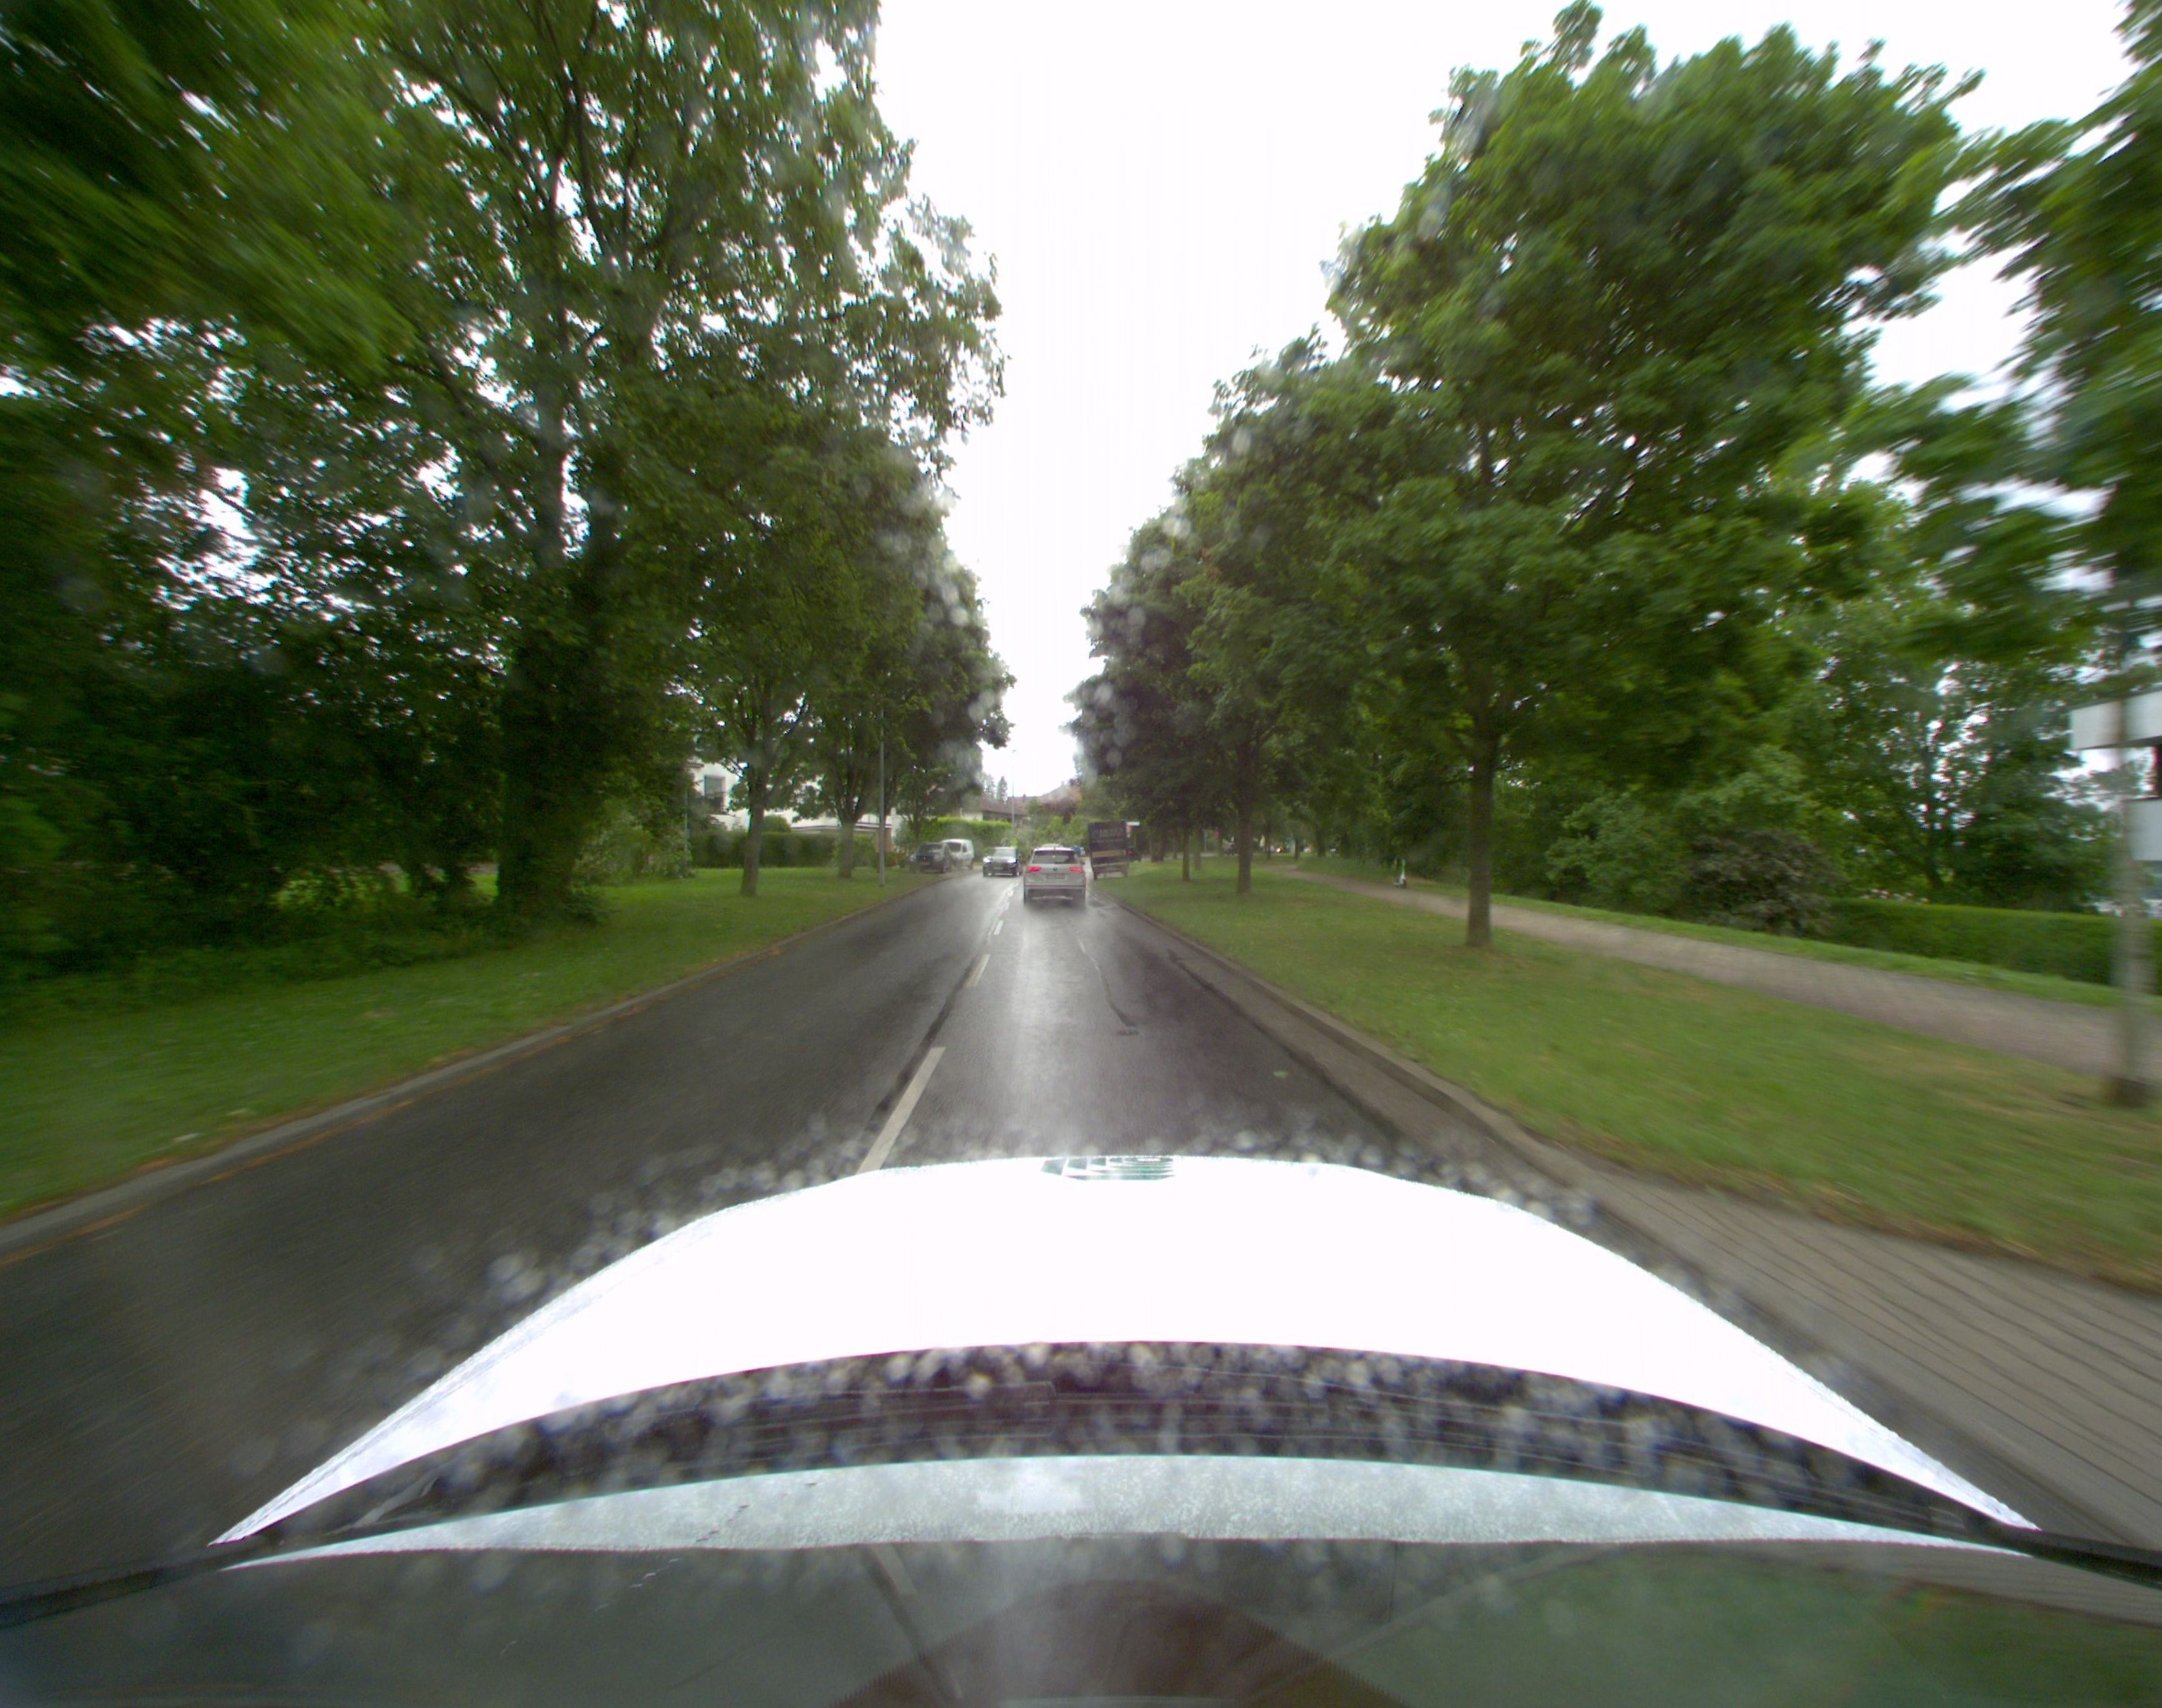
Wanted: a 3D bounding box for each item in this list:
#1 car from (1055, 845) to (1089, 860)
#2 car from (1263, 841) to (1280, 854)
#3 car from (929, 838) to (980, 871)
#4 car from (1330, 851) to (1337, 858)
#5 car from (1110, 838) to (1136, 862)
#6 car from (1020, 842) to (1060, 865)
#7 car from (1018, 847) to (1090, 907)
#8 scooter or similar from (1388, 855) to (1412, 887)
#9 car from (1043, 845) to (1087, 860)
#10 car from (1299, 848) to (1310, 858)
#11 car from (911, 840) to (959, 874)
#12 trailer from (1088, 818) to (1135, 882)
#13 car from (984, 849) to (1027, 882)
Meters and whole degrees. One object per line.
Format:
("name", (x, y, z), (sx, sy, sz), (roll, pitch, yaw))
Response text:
("car", (-0.965, -0.173, 90.858), (3.375, 1.519, 1.739), (1, 1, 19))
("car", (30.477, -1.046, 130.043), (1.976, 1.804, 4.021), (2, 0, 22))
("car", (-7.500, 0.010, 48.639), (1.789, 1.795, 4.381), (2, 0, 7))
("car", (60.151, 0.156, 194.027), (1.411, 1.570, 3.444), (3, 0, 15))
("car", (3.818, -0.364, 73.638), (1.890, 2.014, 3.953), (2, 0, 8))
("car", (-3.107, -0.081, 62.698), (1.839, 1.691, 4.422), (1, 1, 14))
("car", (-0.908, 0.629, 25.033), (1.971, 1.653, 4.170), (-1, 0, -5))
("scooter or similar", (11.631, 0.601, 29.719), (0.461, 1.146, 1.303), (-1, 0, 5))
("car", (-1.750, -0.177, 87.686), (4.203, 1.539, 2.062), (1, 1, 19))
("car", (47.081, -0.206, 171.236), (1.978, 1.807, 4.018), (2, 0, 18))
("car", (-7.708, 0.145, 43.391), (1.745, 1.640, 4.590), (3, 0, -1))
("trailer", (1.465, -0.210, 40.907), (1.987, 2.808, 5.609), (-5, 0, 1))
("car", (-4.052, 0.587, 44.281), (1.783, 1.537, 4.094), (3, 1, 2))
